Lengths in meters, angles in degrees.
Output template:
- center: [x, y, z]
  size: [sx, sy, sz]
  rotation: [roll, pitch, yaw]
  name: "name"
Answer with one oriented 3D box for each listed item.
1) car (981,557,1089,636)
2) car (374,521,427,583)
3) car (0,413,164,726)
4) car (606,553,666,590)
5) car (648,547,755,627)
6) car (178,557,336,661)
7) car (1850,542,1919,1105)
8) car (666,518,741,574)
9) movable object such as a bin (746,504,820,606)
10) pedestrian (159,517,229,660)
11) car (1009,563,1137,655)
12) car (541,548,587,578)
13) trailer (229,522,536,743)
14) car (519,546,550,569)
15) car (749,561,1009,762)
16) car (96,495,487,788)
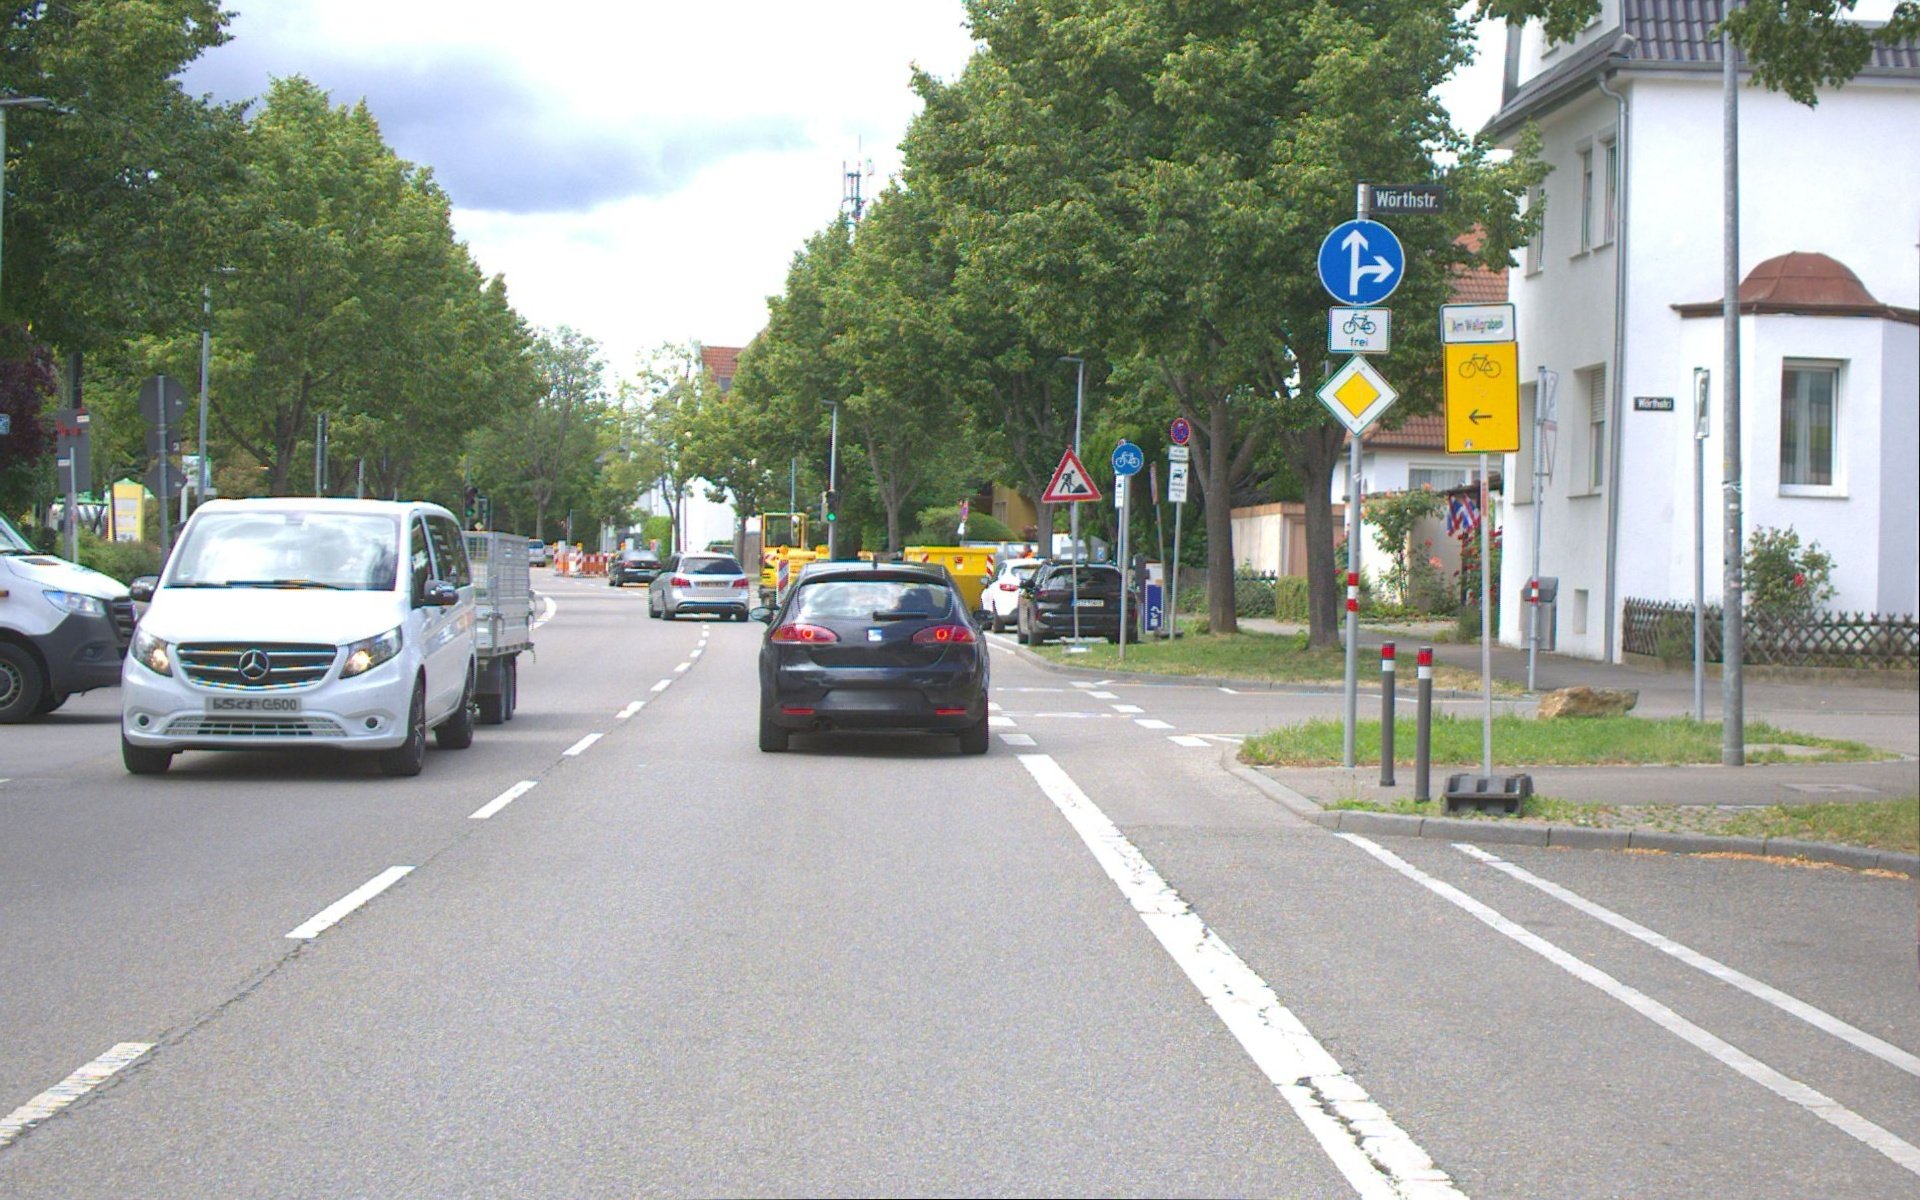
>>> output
- center: [1.426, -0.089, 67.174]
  size: [1.672, 1.457, 4.001]
  rotation: [1, 1, -5]
  name: "car"
- center: [-24.065, -2.069, 147.769]
  size: [2.092, 2.617, 5.046]
  rotation: [1, 1, -10]
  name: "car"
- center: [-10.674, -0.327, 29.350]
  size: [7.287, 2.585, 2.221]
  rotation: [1, 1, -5]
  name: "car"
- center: [-12.424, -1.092, 131.666]
  size: [1.809, 1.370, 3.694]
  rotation: [1, 1, -12]
  name: "car"
- center: [-5.661, -0.312, 74.893]
  size: [1.905, 1.680, 3.741]
  rotation: [0, 1, -10]
  name: "car"
- center: [-9.986, 0.096, 49.060]
  size: [1.642, 1.415, 4.021]
  rotation: [0, 1, -3]
  name: "car"
- center: [3.664, 0.663, 8.225]
  size: [1.721, 1.575, 4.062]
  rotation: [1, 1, -4]
  name: "car"
- center: [-7.642, -1.602, 102.277]
  size: [1.790, 1.617, 3.741]
  rotation: [0, 1, -11]
  name: "car"
- center: [-4.621, -1.176, 89.293]
  size: [1.768, 2.565, 3.740]
  rotation: [1, 1, -4]
  name: "movable object such as a bin"
- center: [-9.183, -0.144, 41.224]
  size: [0.542, 1.675, 0.750]
  rotation: [3, 2, 6]
  name: "pedestrian"
- center: [1.847, 0.118, 57.388]
  size: [1.705, 1.449, 4.617]
  rotation: [1, 1, -3]
  name: "car"
- center: [-19.622, -1.847, 170.105]
  size: [1.809, 1.410, 3.694]
  rotation: [1, 1, -14]
  name: "car"
- center: [-4.768, 0.222, 29.007]
  size: [1.938, 1.671, 4.689]
  rotation: [1, 1, -2]
  name: "trailer"
- center: [-26.191, -2.610, 211.449]
  size: [1.809, 1.410, 3.694]
  rotation: [1, 1, -8]
  name: "car"
- center: [-0.700, 0.427, 26.814]
  size: [1.818, 1.433, 3.740]
  rotation: [1, 1, -4]
  name: "car"
- center: [-4.577, 0.232, 24.251]
  size: [1.966, 1.824, 4.819]
  rotation: [1, 1, -2]
  name: "car"
